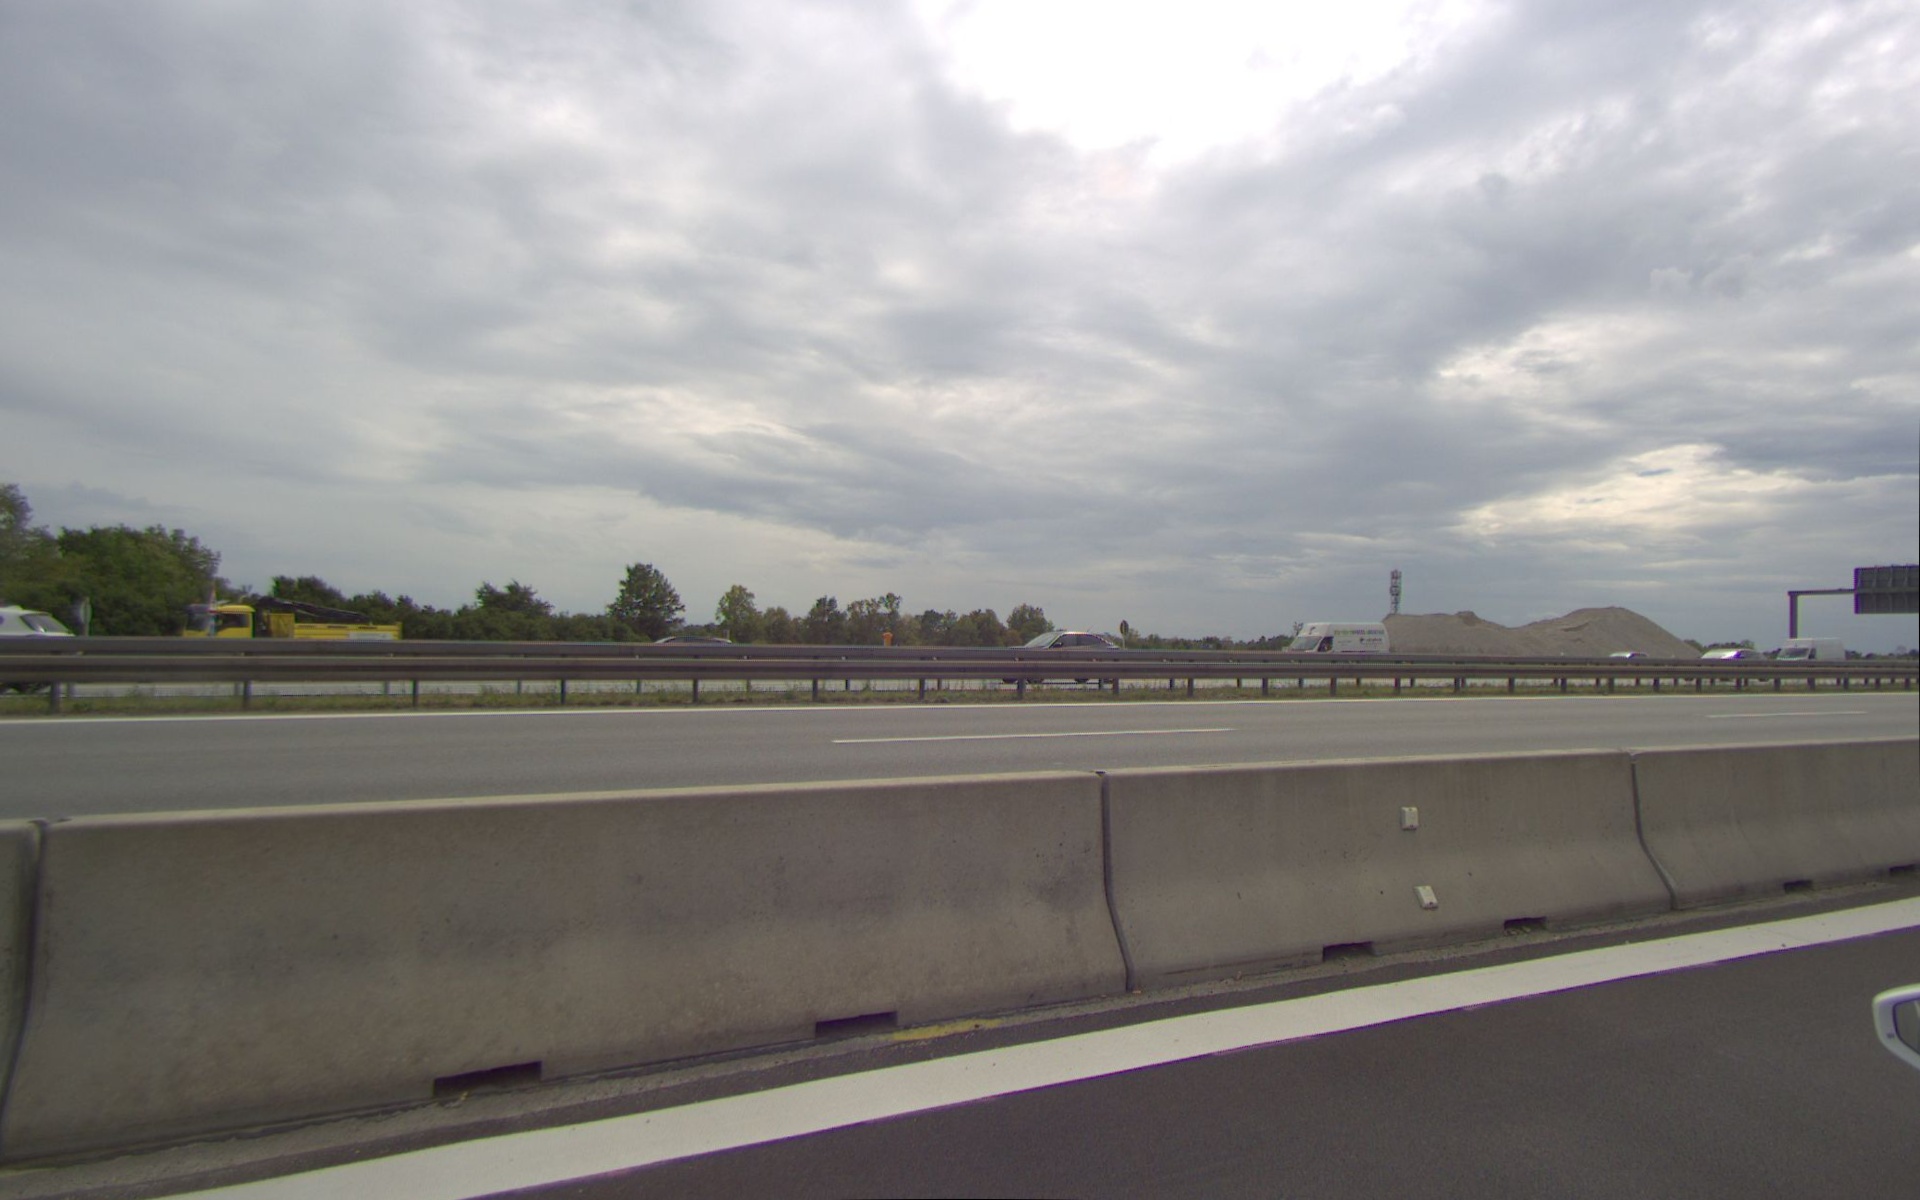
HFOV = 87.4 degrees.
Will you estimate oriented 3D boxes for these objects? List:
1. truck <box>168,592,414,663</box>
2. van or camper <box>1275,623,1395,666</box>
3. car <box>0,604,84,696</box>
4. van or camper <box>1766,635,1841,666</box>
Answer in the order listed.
[{"bbox_3d":[-29.362,1.238,44.700,2.863,2.810,8.769,1,-1,28],"label":"truck"},{"bbox_3d":[19.172,2.269,51.284,6.200,2.040,2.226,2,-1,-28],"label":"van or camper"},{"bbox_3d":[-16.874,0.759,16.079,3.954,1.442,1.883,2,-1,-31],"label":"car"},{"bbox_3d":[62.529,3.761,74.428,5.735,2.200,2.179,2,-1,-27],"label":"van or camper"}]
